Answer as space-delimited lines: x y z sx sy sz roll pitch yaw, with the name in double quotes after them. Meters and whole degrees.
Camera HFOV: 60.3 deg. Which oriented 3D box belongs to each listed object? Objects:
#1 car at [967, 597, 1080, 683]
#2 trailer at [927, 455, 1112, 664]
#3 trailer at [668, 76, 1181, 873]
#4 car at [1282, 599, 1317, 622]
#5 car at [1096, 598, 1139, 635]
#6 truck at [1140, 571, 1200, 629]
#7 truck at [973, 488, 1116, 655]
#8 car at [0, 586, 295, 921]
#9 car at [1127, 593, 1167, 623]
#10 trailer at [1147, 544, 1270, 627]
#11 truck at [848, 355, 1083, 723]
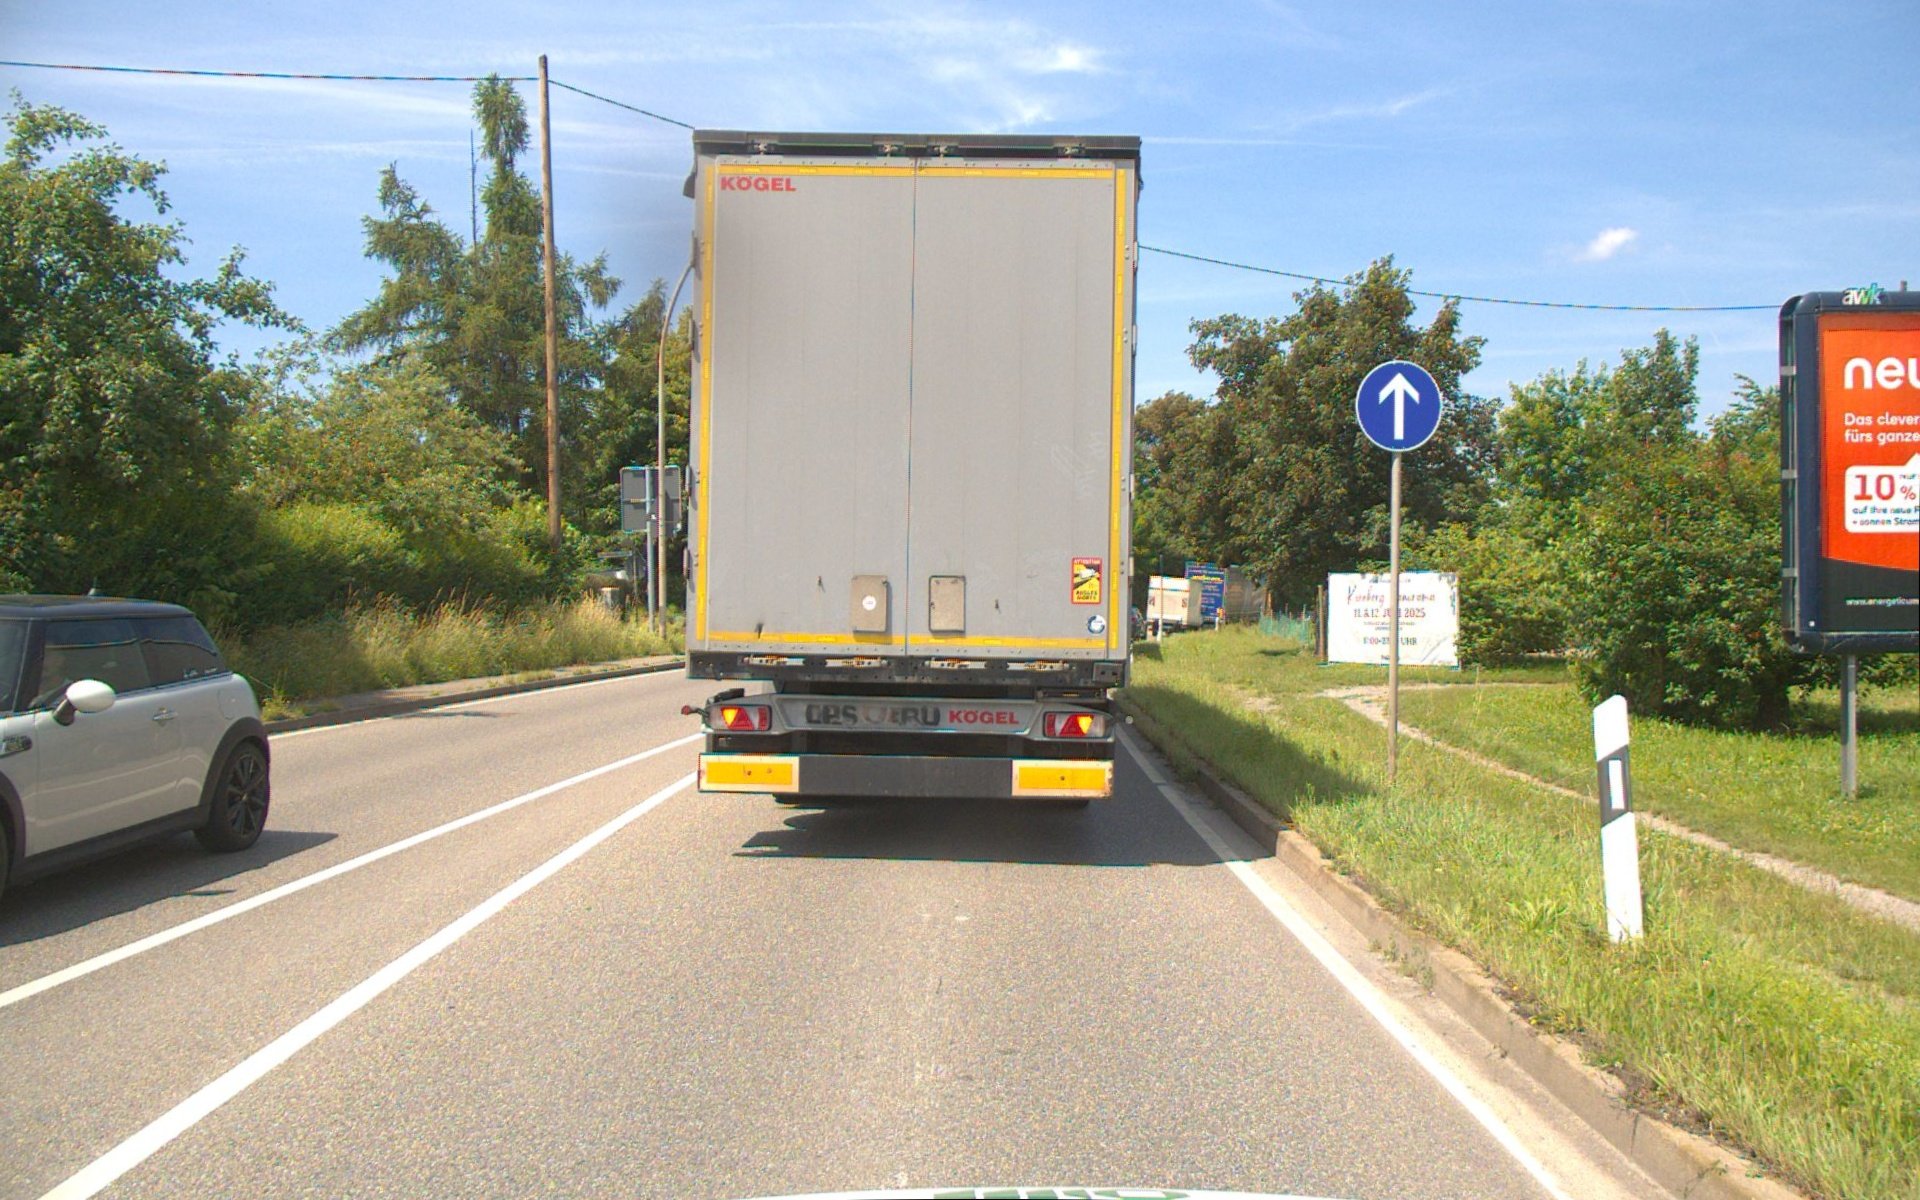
1.320 0.746 32.851 1.951 1.556 4.003 1 1 6 "car"
1.881 -0.908 42.818 3.808 4.600 12.722 0 0 6 "trailer"
-0.023 -0.755 15.000 2.729 4.278 12.114 1 1 2 "trailer"
25.760 0.793 125.374 1.953 1.713 4.000 1 1 22 "car"
6.885 0.680 72.228 1.802 1.512 4.003 1 1 6 "car"
10.982 -0.028 86.223 2.369 2.888 5.416 0 1 15 "truck"
2.683 -0.808 49.667 3.853 4.655 7.157 0 0 6 "truck"
-4.815 0.645 8.017 1.588 1.406 3.562 0 1 3 "car"
12.155 0.488 107.518 1.951 1.870 4.003 0 1 16 "car"
15.661 -0.942 102.635 5.070 4.709 15.904 1 1 18 "trailer"
0.262 -0.752 22.260 2.688 4.238 6.146 1 1 4 "truck"
